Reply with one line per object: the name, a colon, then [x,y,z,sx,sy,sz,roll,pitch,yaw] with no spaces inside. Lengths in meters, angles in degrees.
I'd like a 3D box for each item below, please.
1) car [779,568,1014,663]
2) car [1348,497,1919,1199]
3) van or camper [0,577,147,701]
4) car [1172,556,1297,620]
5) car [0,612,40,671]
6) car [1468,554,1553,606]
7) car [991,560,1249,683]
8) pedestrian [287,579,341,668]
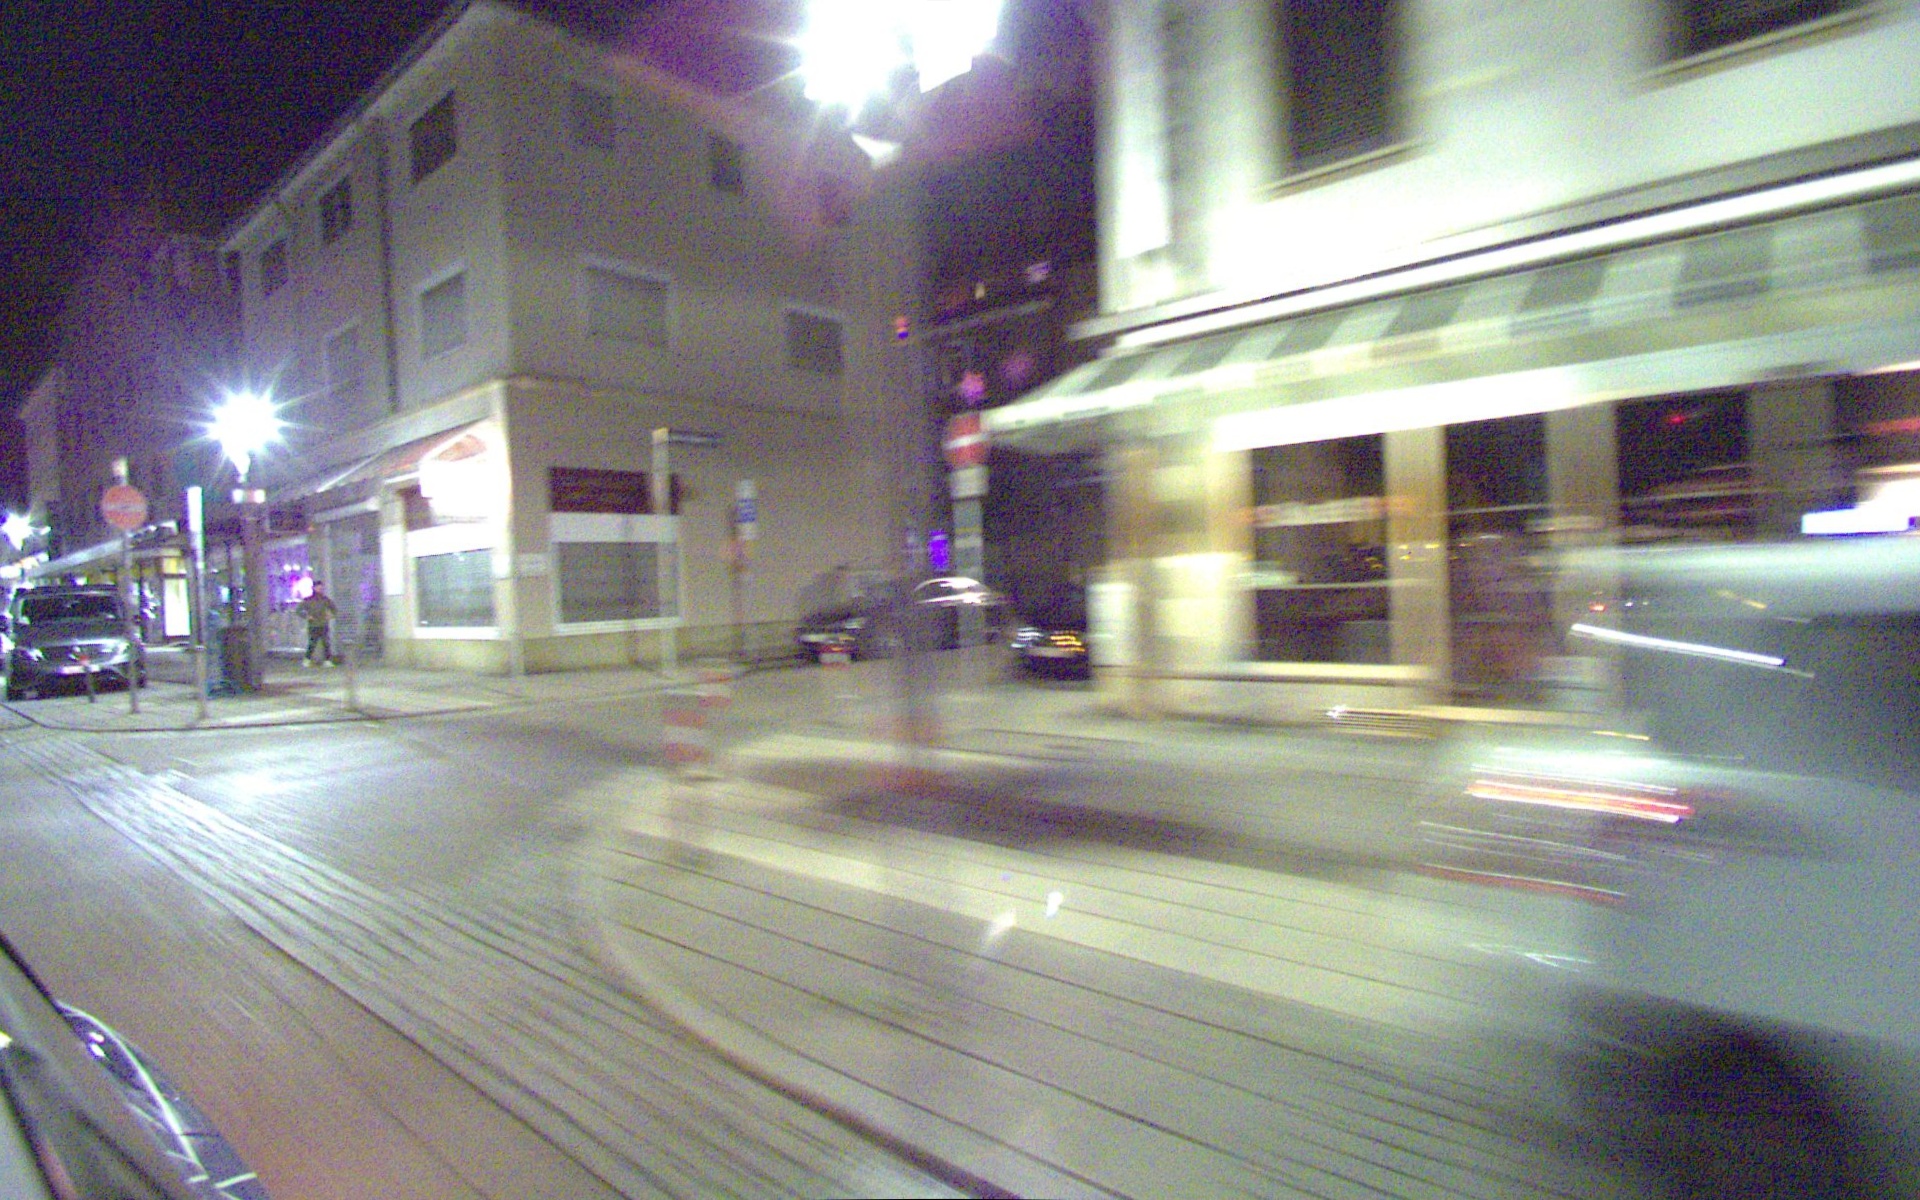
car: [-1.060,0.243,19.012,1.778,1.411,4.397,-5,0,40]
car: [2.850,0.523,1.547,3.844,1.487,1.711,-1,2,40]
van or camper: [-16.607,0.646,18.835,1.824,1.956,5.158,-4,2,-43]
car: [8.105,-0.370,29.694,1.998,1.660,3.947,-4,-1,40]
car: [-25.545,1.101,26.468,4.384,1.423,1.699,-1,2,42]
car: [16.468,-0.625,30.195,1.609,1.401,3.632,0,3,39]
car: [2.359,0.197,14.118,1.807,1.386,3.948,0,3,39]
pedestrian: [-13.248,0.468,20.744,1.022,1.758,0.614,-1,1,42]
